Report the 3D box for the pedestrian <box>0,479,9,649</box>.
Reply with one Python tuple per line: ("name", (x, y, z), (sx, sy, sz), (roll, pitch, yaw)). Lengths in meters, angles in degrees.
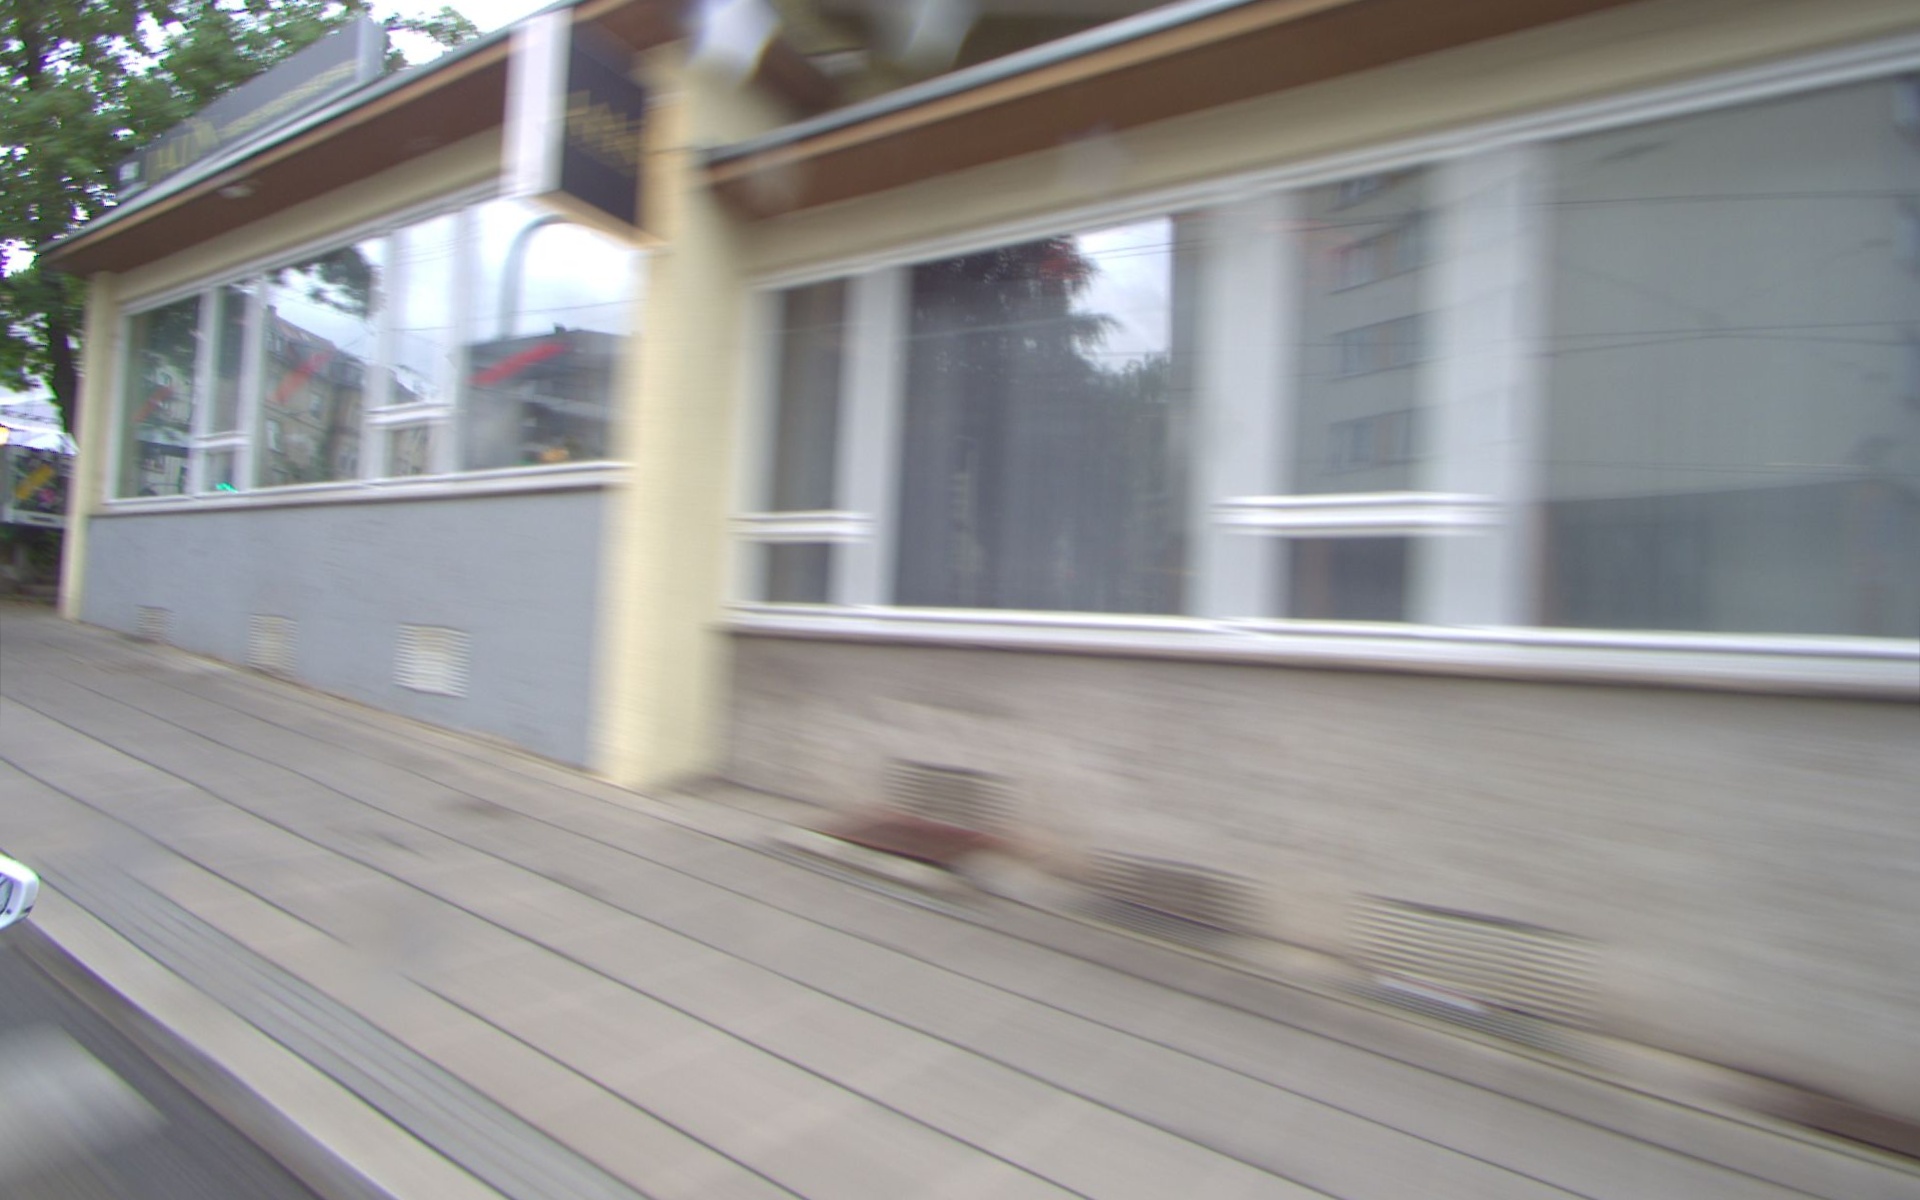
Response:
("pedestrian", (-9.220, -0.363, 9.219), (0.549, 1.574, 0.546), (7, 3, 30))
